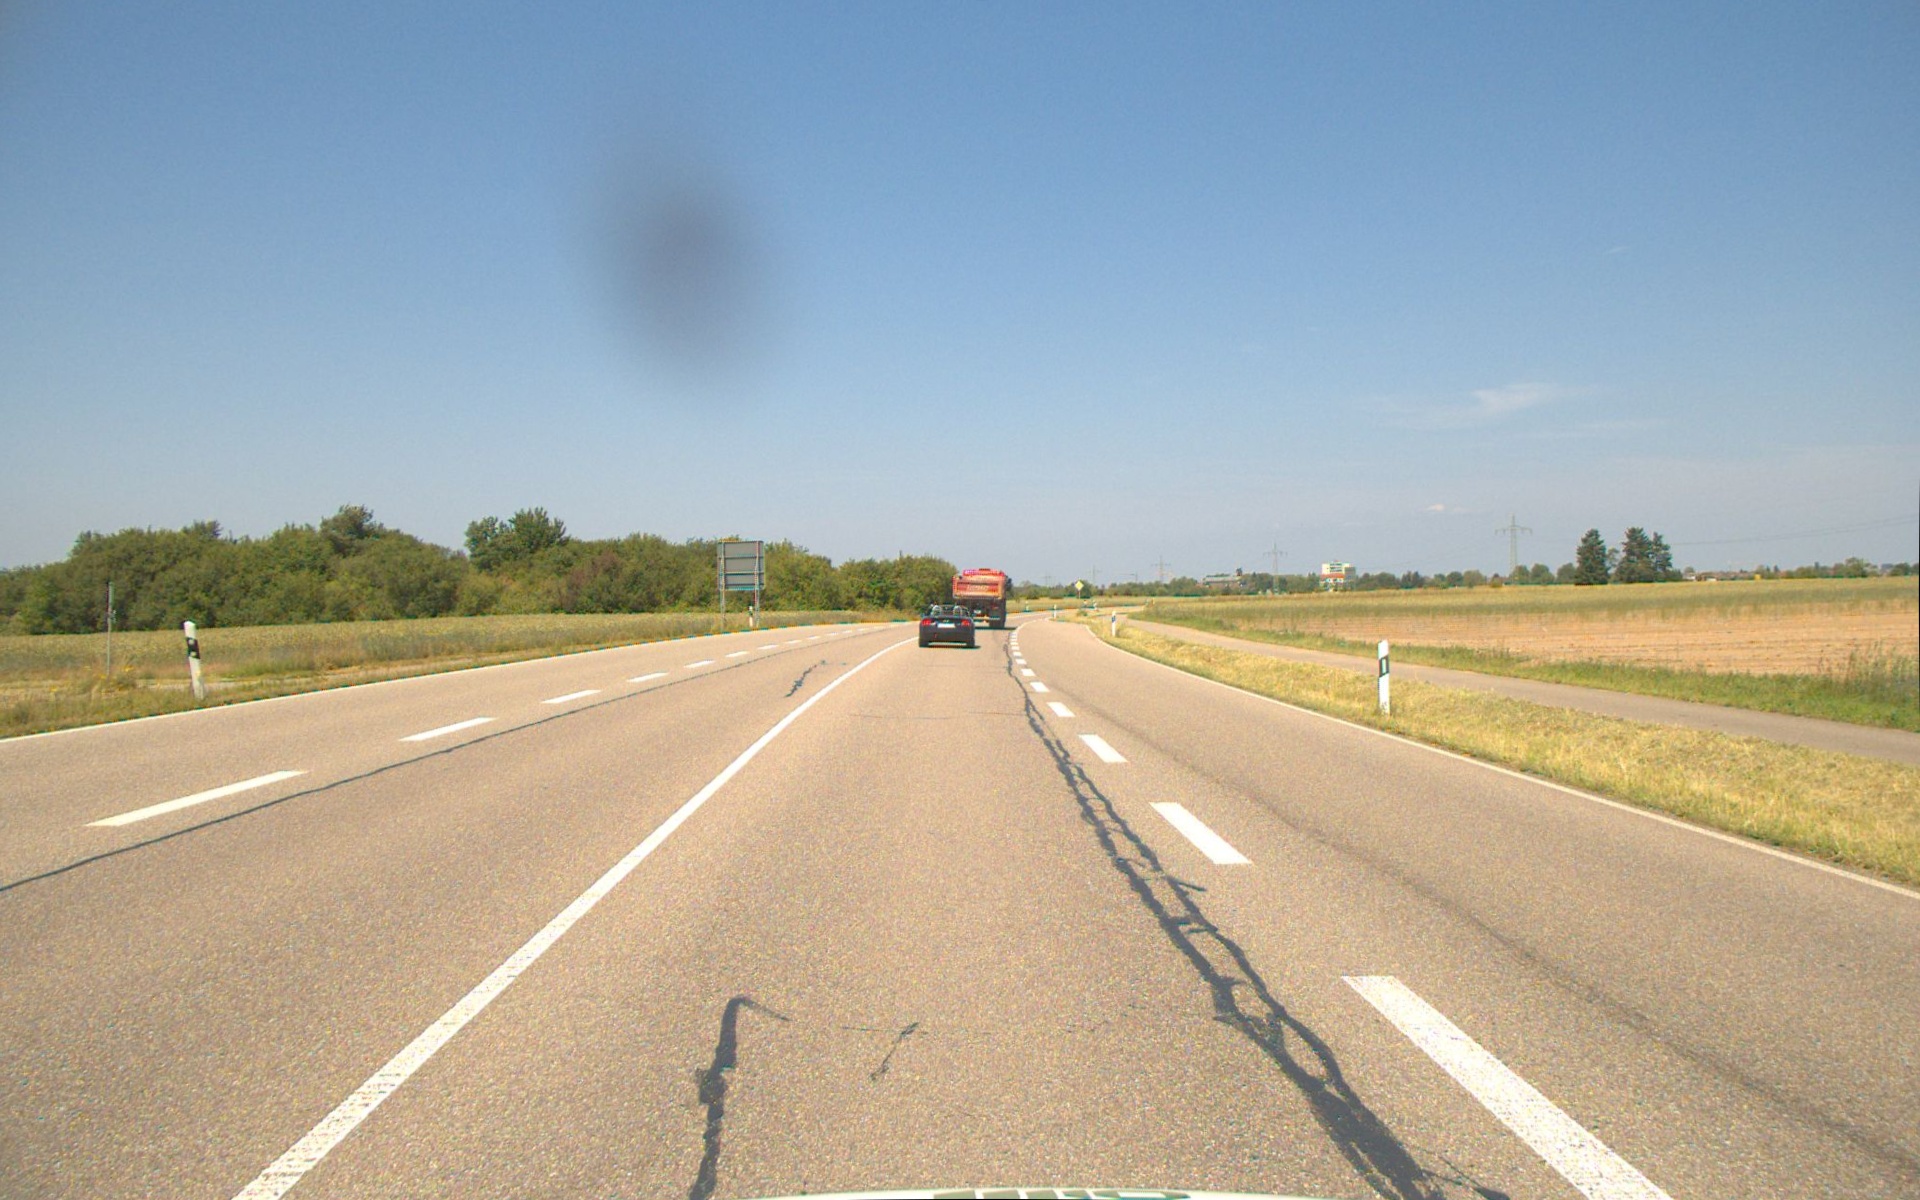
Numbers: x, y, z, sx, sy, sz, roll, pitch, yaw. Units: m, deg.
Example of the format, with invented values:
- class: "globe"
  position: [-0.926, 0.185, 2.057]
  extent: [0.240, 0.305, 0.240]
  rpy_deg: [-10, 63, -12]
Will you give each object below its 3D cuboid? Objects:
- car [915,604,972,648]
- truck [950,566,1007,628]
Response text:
- class: "car"
  position: [-0.513, 0.783, 52.121]
  extent: [1.708, 1.302, 3.999]
  rpy_deg: [0, 0, -1]
- class: "truck"
  position: [1.031, -0.123, 87.437]
  extent: [2.877, 3.143, 7.197]
  rpy_deg: [0, 0, 1]
